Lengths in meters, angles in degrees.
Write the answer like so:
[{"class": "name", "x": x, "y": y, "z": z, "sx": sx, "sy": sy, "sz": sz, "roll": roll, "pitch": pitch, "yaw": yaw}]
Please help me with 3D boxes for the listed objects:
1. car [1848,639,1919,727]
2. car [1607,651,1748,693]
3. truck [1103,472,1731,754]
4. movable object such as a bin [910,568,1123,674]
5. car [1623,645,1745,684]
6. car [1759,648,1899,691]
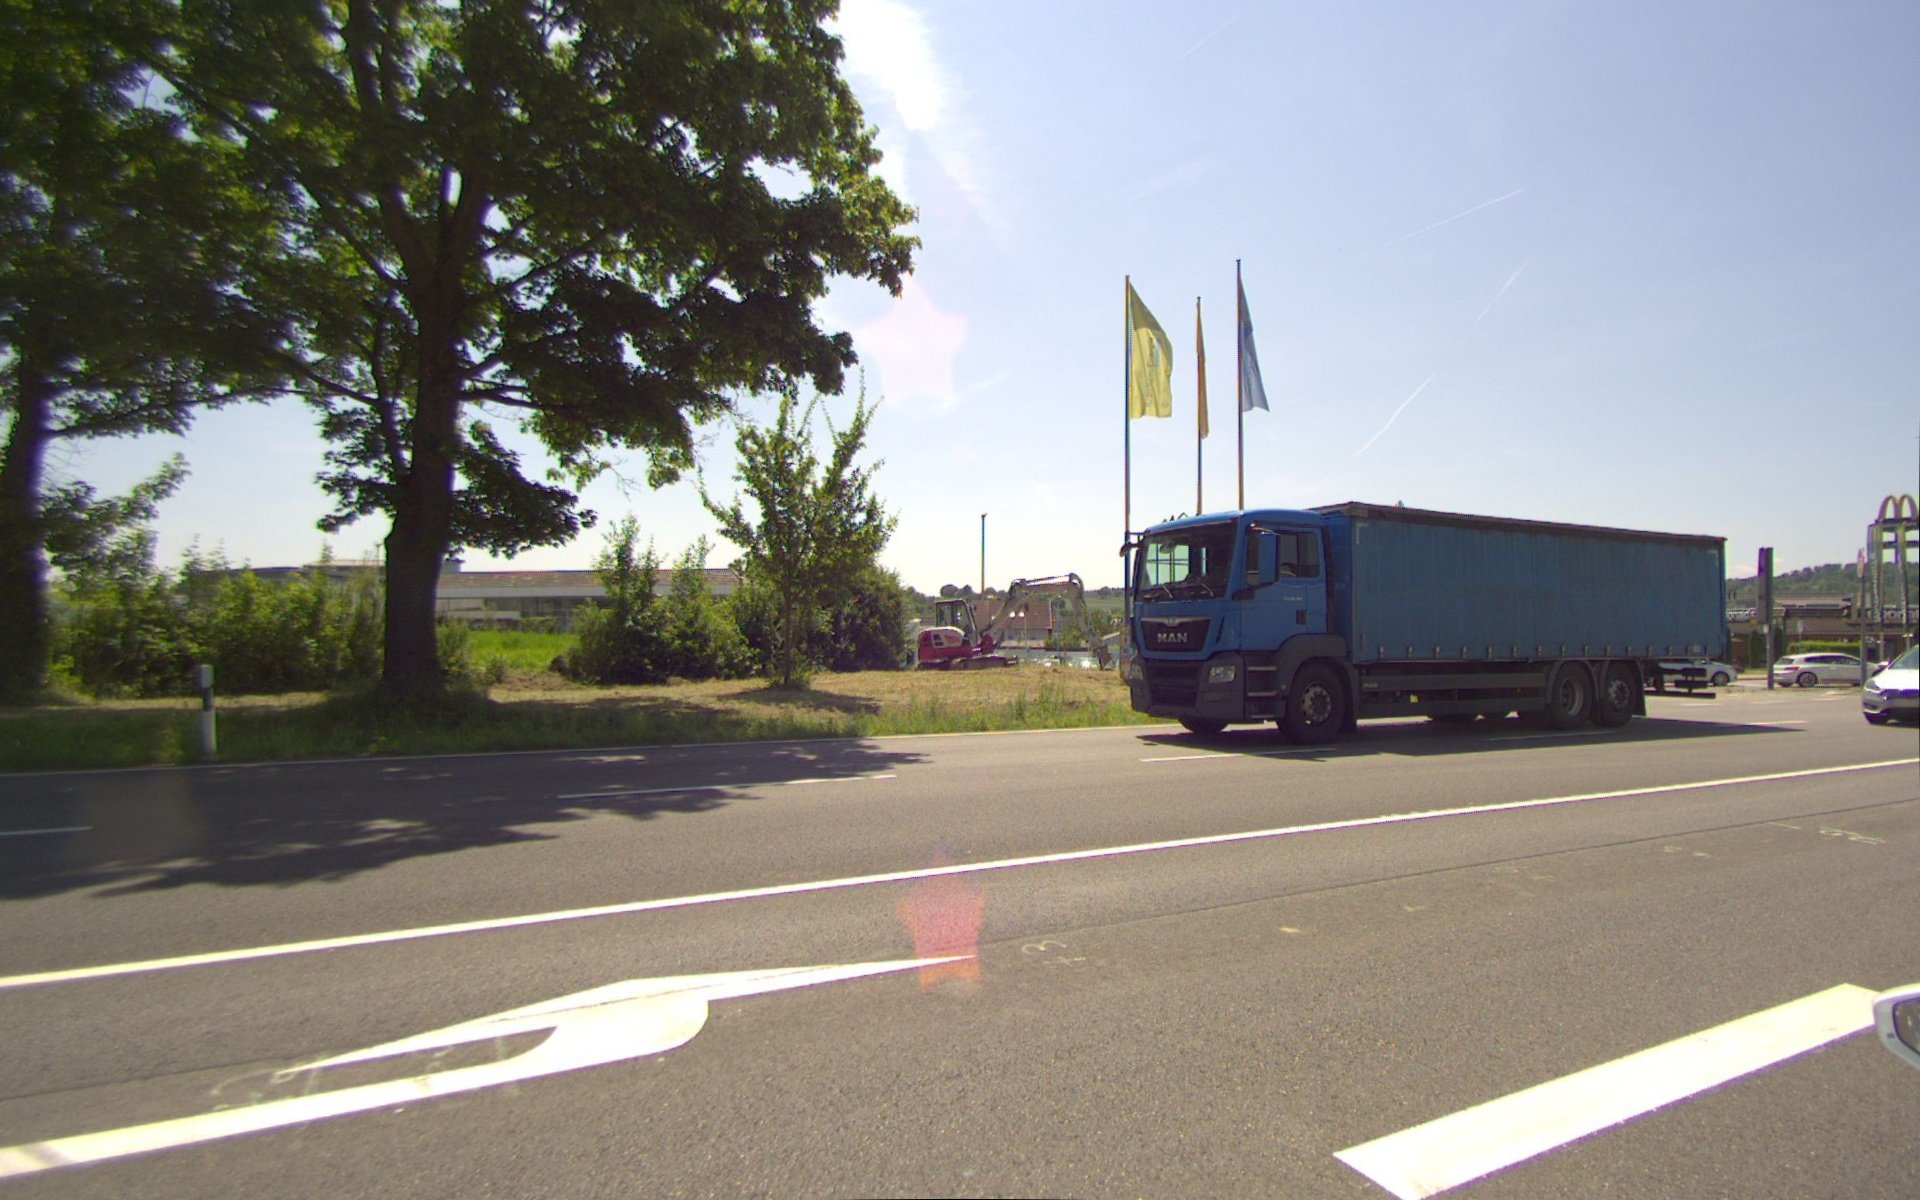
[{"class": "car", "x": 17.571, "y": 1.415, "z": 17.587, "sx": 4.213, "sy": 1.445, "sz": 1.781, "roll": 2, "pitch": -3, "yaw": -30}, {"class": "car", "x": 29.446, "y": 2.950, "z": 41.361, "sx": 4.321, "sy": 1.621, "sz": 1.751, "roll": -2, "pitch": -3, "yaw": 12}, {"class": "truck", "x": 7.752, "y": 0.349, "z": 16.053, "sx": 11.337, "sy": 3.395, "sz": 2.835, "roll": 2, "pitch": -2, "yaw": -28}, {"class": "movable object such as a bin", "x": 1.974, "y": 0.685, "z": 33.711, "sx": 6.654, "sy": 3.342, "sz": 3.055, "roll": 0, "pitch": -1, "yaw": 14}, {"class": "car", "x": 32.792, "y": 2.917, "z": 45.616, "sx": 4.113, "sy": 1.622, "sz": 1.751, "roll": 0, "pitch": -2, "yaw": 12}, {"class": "car", "x": 35.820, "y": 2.825, "z": 41.518, "sx": 3.932, "sy": 1.500, "sz": 1.791, "roll": 2, "pitch": -1, "yaw": 14}]
